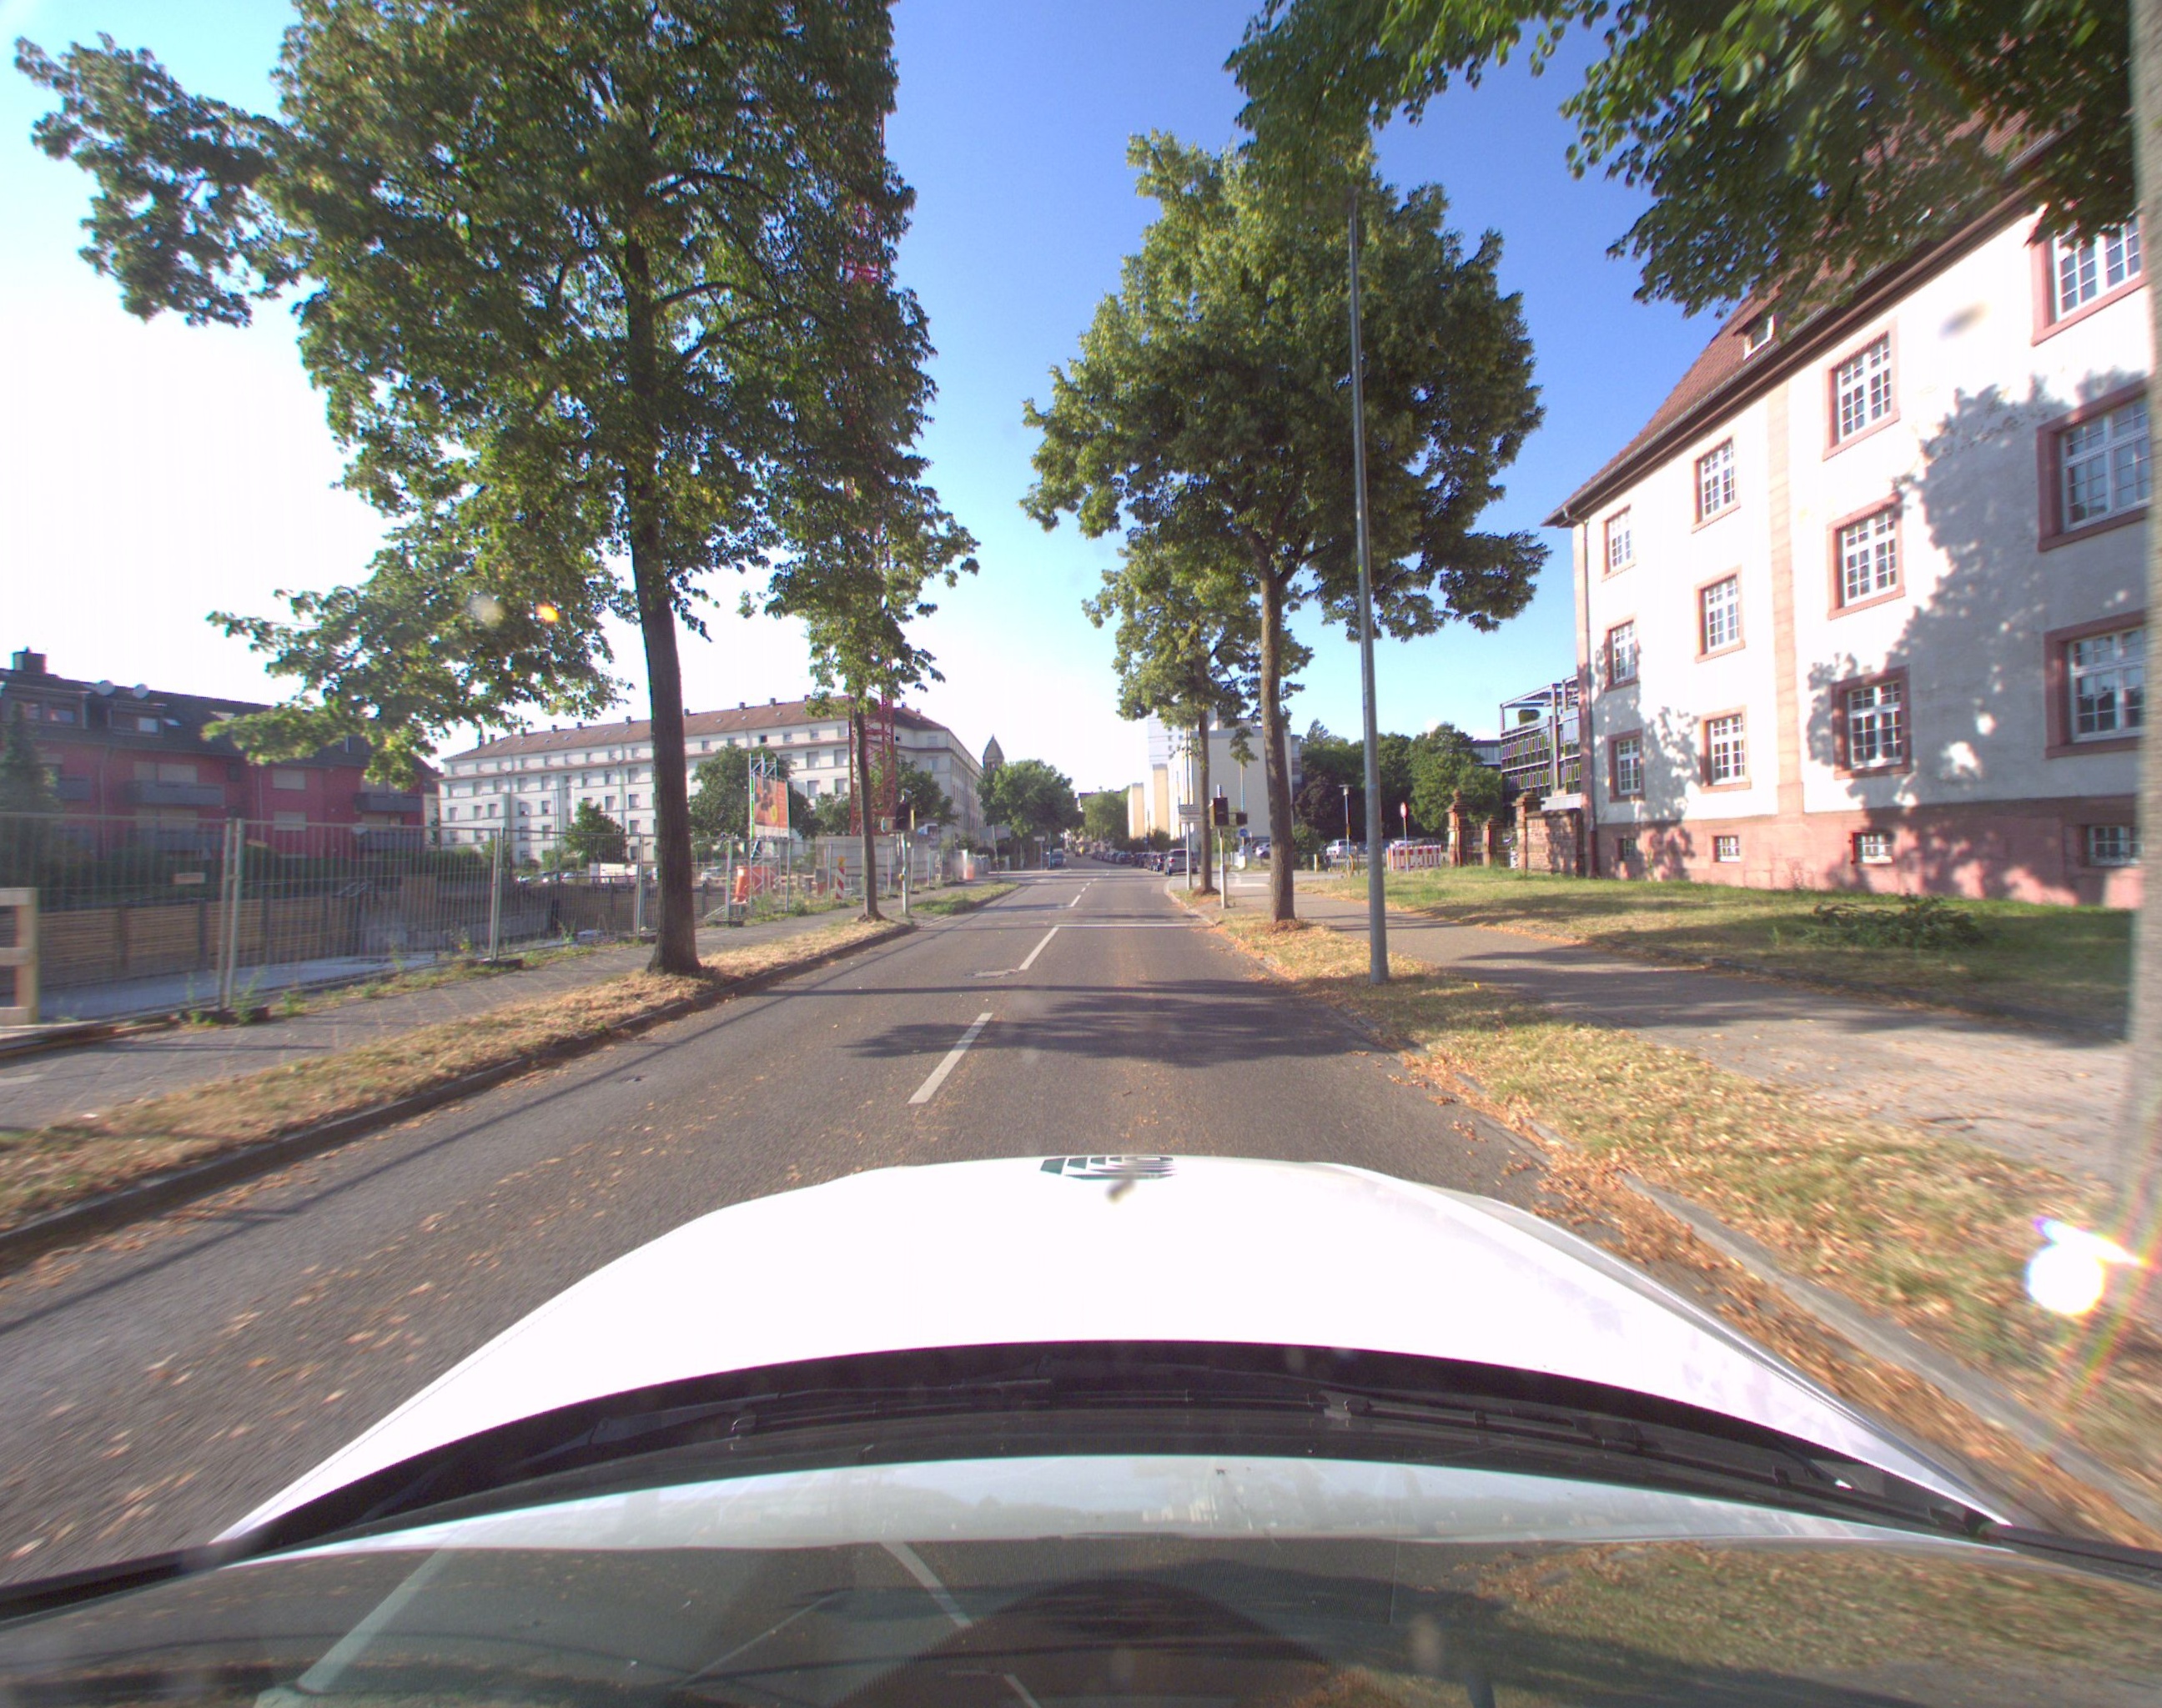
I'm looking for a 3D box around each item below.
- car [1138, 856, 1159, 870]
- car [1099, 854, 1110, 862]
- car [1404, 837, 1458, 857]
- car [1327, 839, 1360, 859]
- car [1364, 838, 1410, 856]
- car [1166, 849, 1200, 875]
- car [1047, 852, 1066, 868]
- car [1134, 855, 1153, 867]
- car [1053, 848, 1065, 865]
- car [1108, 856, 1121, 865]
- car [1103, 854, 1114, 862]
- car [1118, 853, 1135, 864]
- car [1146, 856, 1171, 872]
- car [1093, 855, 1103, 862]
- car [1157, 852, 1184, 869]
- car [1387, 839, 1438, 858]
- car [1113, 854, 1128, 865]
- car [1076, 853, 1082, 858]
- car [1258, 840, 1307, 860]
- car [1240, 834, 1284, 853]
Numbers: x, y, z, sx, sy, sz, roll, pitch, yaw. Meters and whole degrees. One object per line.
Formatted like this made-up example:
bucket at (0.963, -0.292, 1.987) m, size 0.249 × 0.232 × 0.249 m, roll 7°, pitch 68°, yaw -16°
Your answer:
car at (6.767, 0.920, 81.941) m, size 1.834 × 1.261 × 4.001 m, roll -3°, pitch 0°, yaw 2°
car at (4.549, 0.761, 157.364) m, size 1.836 × 1.386 × 3.998 m, roll -3°, pitch 0°, yaw -1°
car at (30.861, -0.578, 71.890) m, size 3.970 × 1.728 × 1.774 m, roll -1°, pitch 0°, yaw 3°
car at (21.354, -0.402, 66.329) m, size 1.804 × 1.559 × 3.630 m, roll -1°, pitch -1°, yaw 4°
car at (30.938, -0.670, 82.466) m, size 3.970 × 1.728 × 1.774 m, roll -1°, pitch 0°, yaw 3°
car at (6.807, 0.512, 54.820) m, size 1.834 × 1.574 × 4.001 m, roll -3°, pitch 0°, yaw 2°
car at (-2.869, 0.701, 93.480) m, size 1.989 × 1.687 × 3.995 m, roll -2°, pitch -1°, yaw -3°
car at (6.760, 0.752, 88.620) m, size 1.834 × 1.261 × 4.001 m, roll -3°, pitch 0°, yaw 2°
car at (-4.347, 0.539, 159.587) m, size 2.180 × 3.131 × 4.981 m, roll -4°, pitch -1°, yaw -2°
car at (5.371, 1.037, 130.182) m, size 1.836 × 1.386 × 3.998 m, roll -3°, pitch 0°, yaw -1°
car at (5.029, 0.739, 150.794) m, size 1.836 × 1.386 × 3.998 m, roll -3°, pitch 0°, yaw -1°
car at (5.933, 0.568, 107.058) m, size 1.836 × 1.386 × 3.998 m, roll -3°, pitch 0°, yaw -1°
car at (6.792, 0.844, 71.564) m, size 1.834 × 1.261 × 4.001 m, roll -3°, pitch 0°, yaw 2°
car at (3.739, 0.987, 180.238) m, size 1.836 × 1.386 × 3.998 m, roll -5°, pitch 0°, yaw -1°
car at (7.228, 0.502, 66.128) m, size 1.772 × 1.227 × 4.001 m, roll -3°, pitch 0°, yaw 2°
car at (30.418, -0.504, 74.761) m, size 3.970 × 1.728 × 1.774 m, roll -1°, pitch 0°, yaw 3°
car at (5.719, 0.785, 117.808) m, size 1.836 × 1.386 × 3.998 m, roll -3°, pitch 0°, yaw -1°
car at (-0.530, 0.411, 228.993) m, size 1.709 × 1.486 × 3.997 m, roll -3°, pitch -1°, yaw -1°
car at (17.376, -0.351, 70.398) m, size 3.965 × 1.684 × 2.004 m, roll -1°, pitch -1°, yaw 7°
car at (17.588, -0.990, 79.394) m, size 3.970 × 1.728 × 1.774 m, roll -1°, pitch 0°, yaw 3°
